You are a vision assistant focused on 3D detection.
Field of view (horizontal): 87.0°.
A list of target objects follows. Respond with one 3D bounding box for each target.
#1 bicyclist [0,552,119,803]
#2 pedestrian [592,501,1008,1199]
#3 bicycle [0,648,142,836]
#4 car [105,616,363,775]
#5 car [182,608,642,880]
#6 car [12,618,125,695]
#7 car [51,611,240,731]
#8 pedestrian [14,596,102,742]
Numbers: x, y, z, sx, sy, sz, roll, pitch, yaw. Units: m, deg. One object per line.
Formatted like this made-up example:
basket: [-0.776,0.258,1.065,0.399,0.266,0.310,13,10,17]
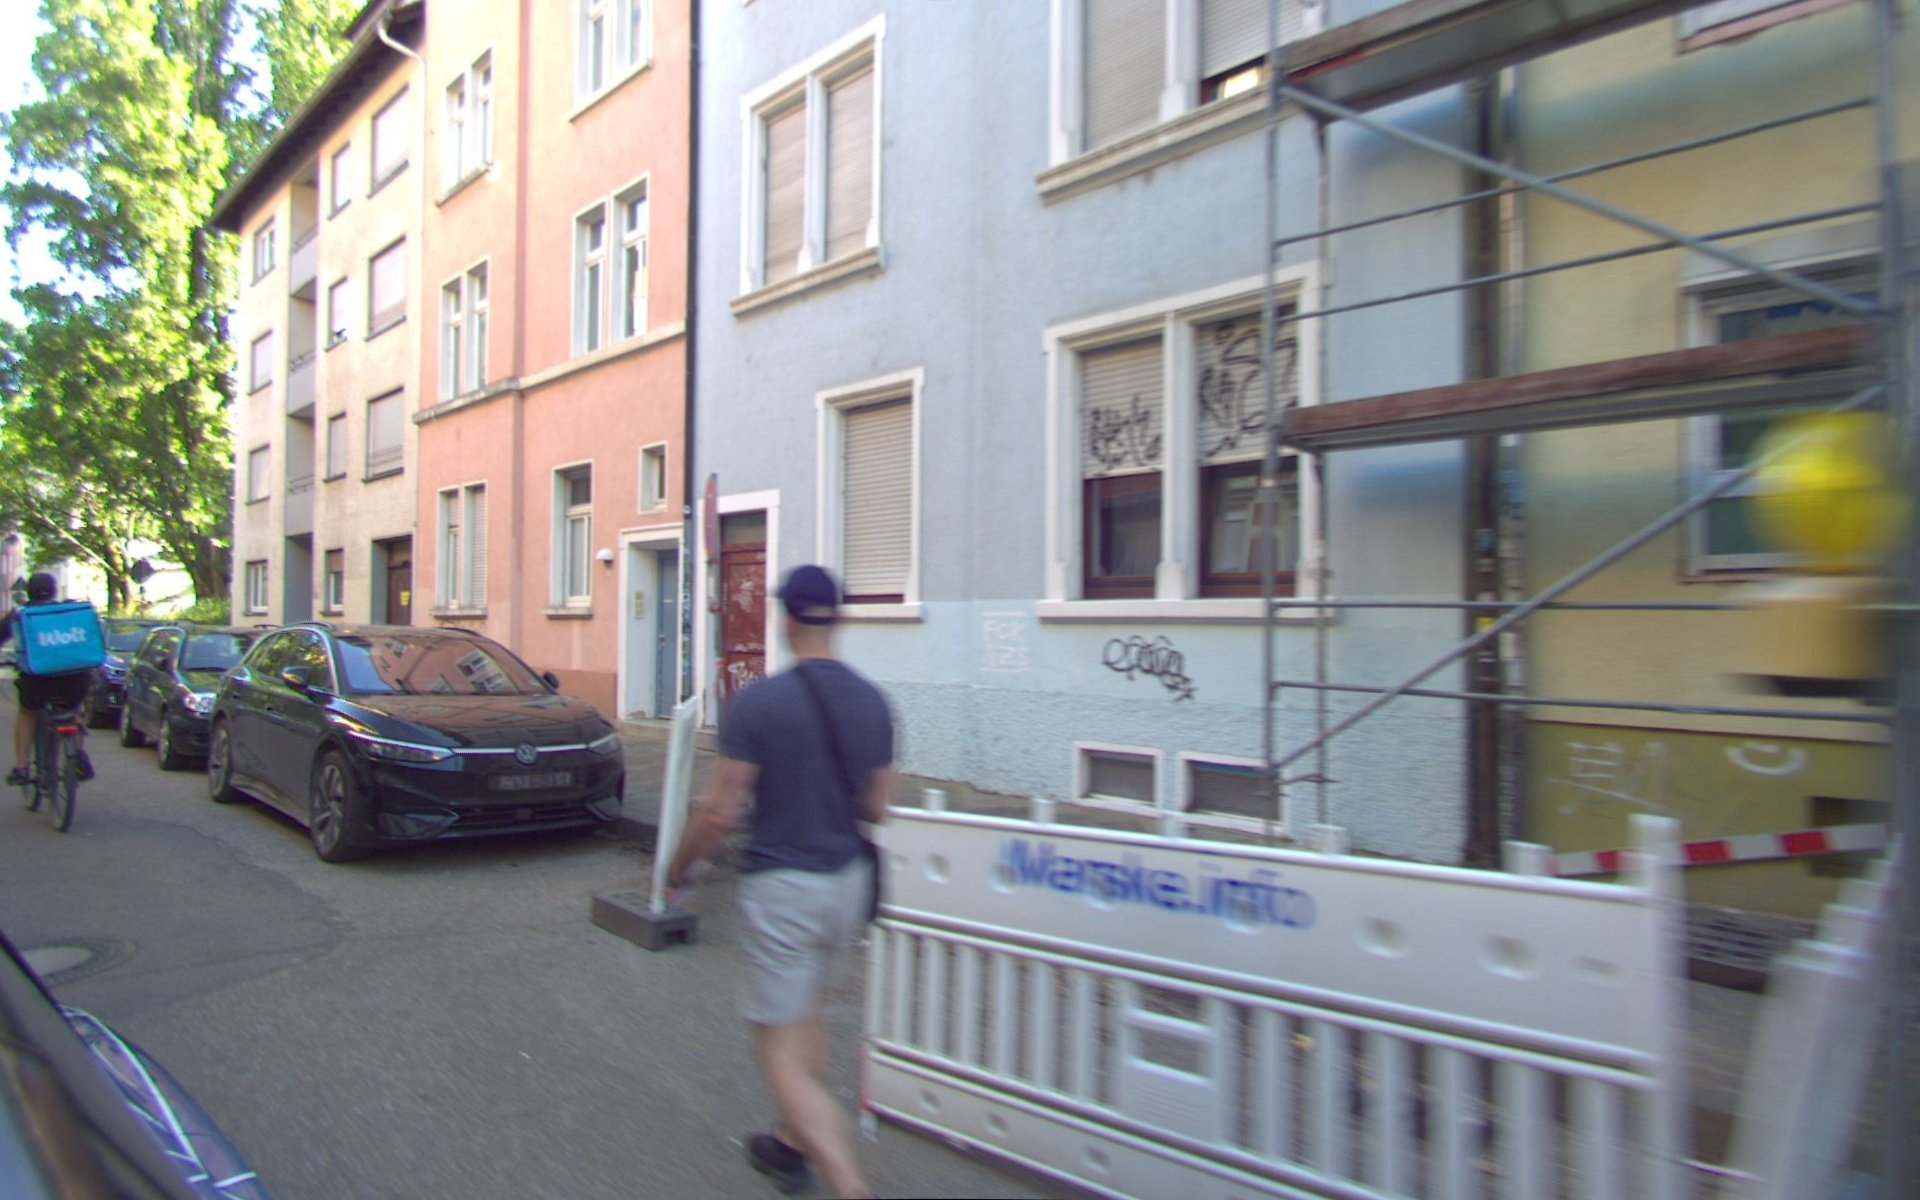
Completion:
bicyclist: [-6.662,0.539,7.333,0.892,1.690,0.658,-1,-3,40]
pedestrian: [-0.395,0.649,2.474,0.813,1.656,0.586,-1,-4,43]
bicycle: [-6.648,0.960,7.391,1.845,1.166,0.679,-1,-3,41]
car: [-8.398,0.957,11.568,4.000,1.503,1.624,-1,-2,43]
car: [-4.509,0.865,7.934,4.696,1.520,1.747,-1,-3,43]
car: [-19.346,1.188,21.917,3.660,1.533,1.445,-2,-3,43]
car: [-12.526,1.000,15.471,4.249,1.586,1.624,-1,-3,43]
pedestrian: [-11.484,0.845,12.879,0.998,1.767,0.730,-1,-2,44]
